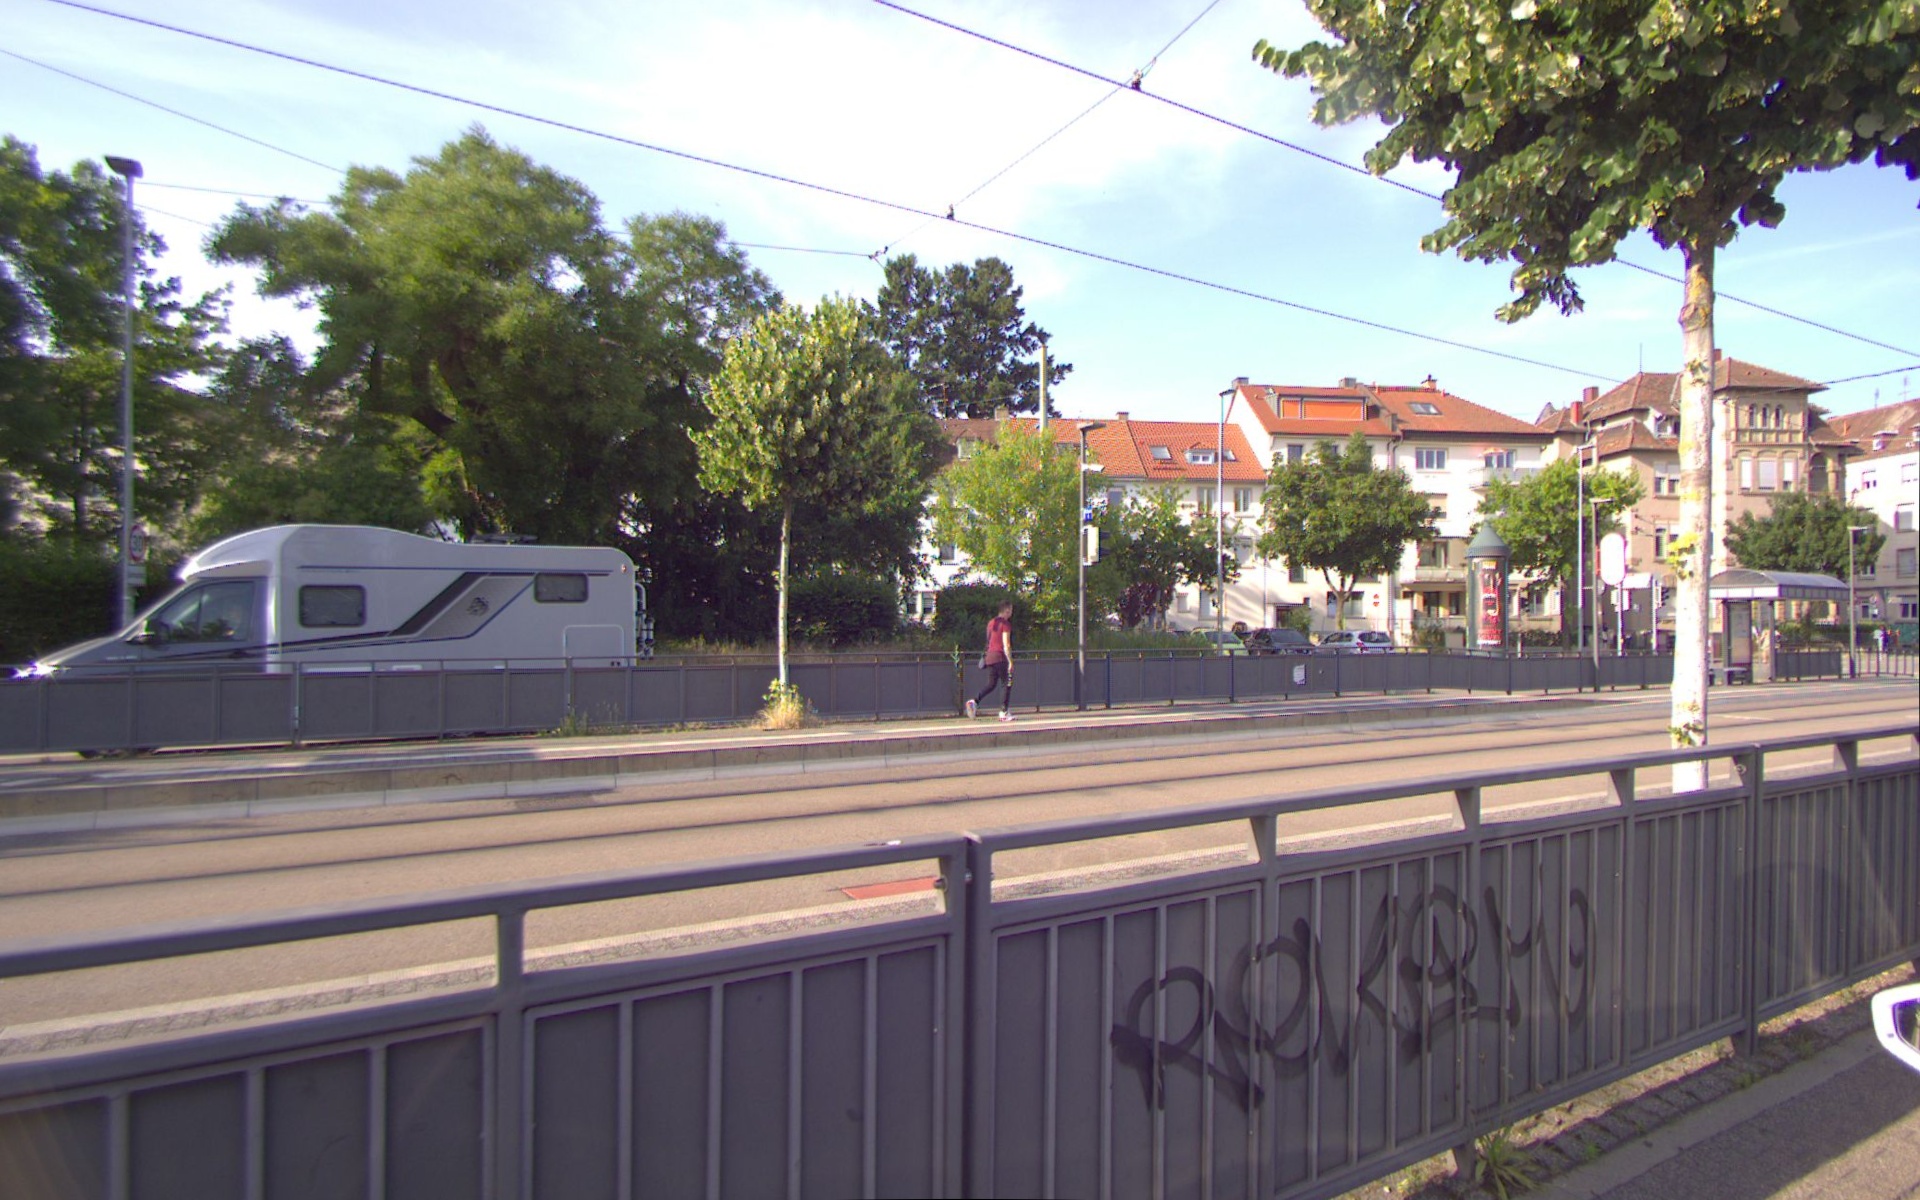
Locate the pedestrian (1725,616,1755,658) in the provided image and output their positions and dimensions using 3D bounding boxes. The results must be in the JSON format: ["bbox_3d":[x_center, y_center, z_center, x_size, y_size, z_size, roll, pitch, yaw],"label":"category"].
[{"bbox_3d":[33.754,1.590,43.465,0.740,1.776,0.879,0,0,-40],"label":"pedestrian"}]

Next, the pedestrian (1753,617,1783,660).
[{"bbox_3d":[34.347,1.622,42.718,0.740,1.776,0.879,0,0,-40],"label":"pedestrian"}]

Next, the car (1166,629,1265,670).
[{"bbox_3d":[9.633,1.840,38.222,1.967,1.416,3.987,0,-1,-16],"label":"car"}]

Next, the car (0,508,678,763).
[{"bbox_3d":[-7.912,0.424,13.849,7.379,2.771,2.584,1,-1,-30],"label":"car"}]

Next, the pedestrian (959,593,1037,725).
[{"bbox_3d":[0.519,0.798,13.920,0.763,1.756,0.832,0,-1,-29],"label":"pedestrian"}]

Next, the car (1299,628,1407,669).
[{"bbox_3d":[15.221,1.835,39.098,1.966,1.416,3.988,0,-1,-15],"label":"car"}]

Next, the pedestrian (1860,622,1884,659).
[{"bbox_3d":[45.032,1.993,49.591,0.736,1.776,0.663,0,0,-26],"label":"pedestrian"}]

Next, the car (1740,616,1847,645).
[{"bbox_3d":[48.269,1.736,58.215,4.628,1.649,2.209,0,0,-6],"label":"car"}]

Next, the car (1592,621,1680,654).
[{"bbox_3d":[38.668,2.120,57.588,1.965,1.773,3.991,0,-1,-12],"label":"car"}]

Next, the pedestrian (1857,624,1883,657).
[{"bbox_3d":[49.995,2.239,55.178,0.736,1.776,0.884,0,0,-26],"label":"pedestrian"}]

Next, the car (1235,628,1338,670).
[{"bbox_3d":[12.428,1.832,38.502,1.966,1.416,3.988,0,-1,-14],"label":"car"}]

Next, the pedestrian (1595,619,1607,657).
[{"bbox_3d":[34.519,2.033,54.119,0.400,2.040,0.383,0,0,-11],"label":"pedestrian"}]
